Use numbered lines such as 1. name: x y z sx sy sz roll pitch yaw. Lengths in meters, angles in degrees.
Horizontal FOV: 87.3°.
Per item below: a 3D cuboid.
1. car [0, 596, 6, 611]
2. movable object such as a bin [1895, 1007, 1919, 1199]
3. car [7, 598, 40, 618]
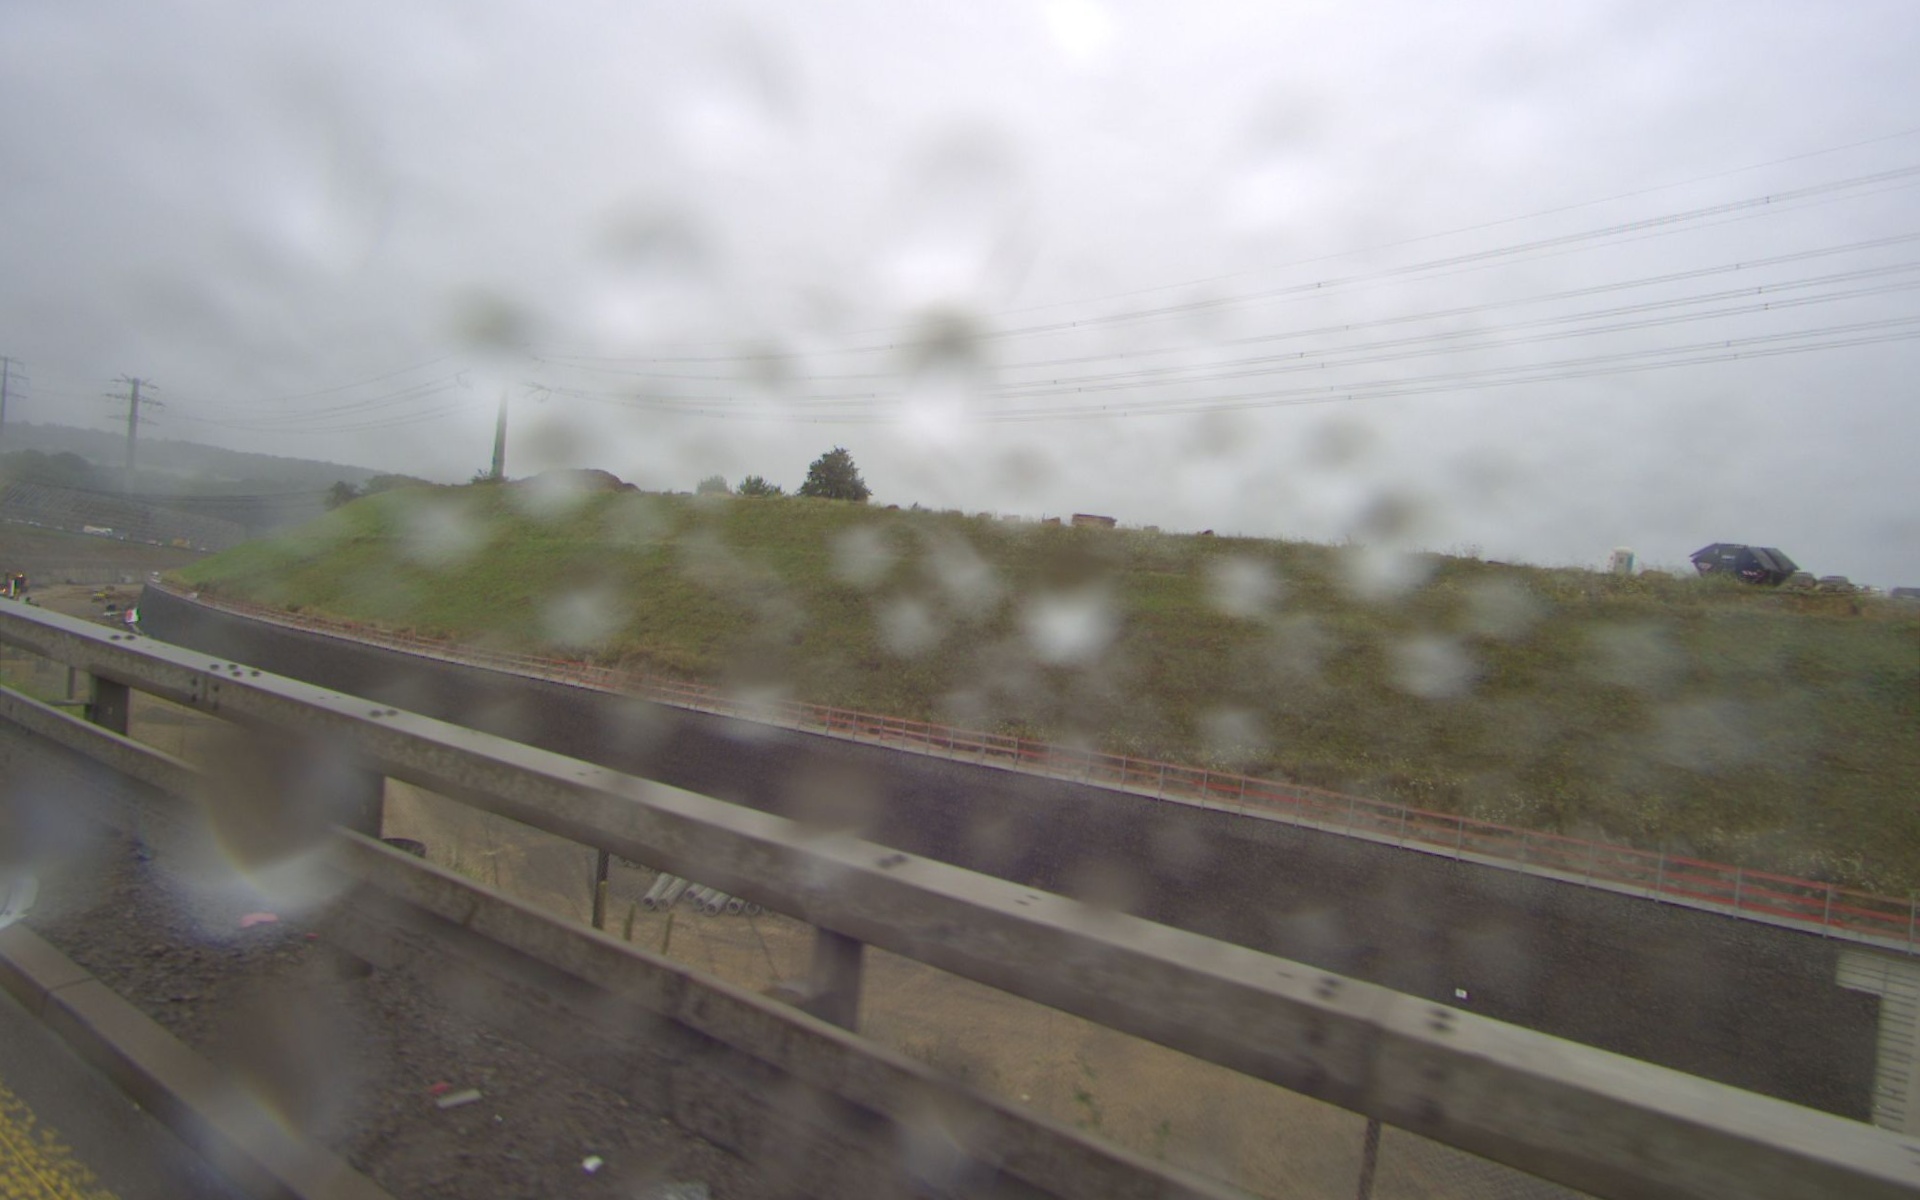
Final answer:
1. car: -137.093 0.355 142.638 3.943 1.837 1.993 5 -2 40
2. movable object such as a bin: 22.595 11.051 14.924 11.894 5.730 4.906 3 -5 32
3. car: -123.103 1.106 132.197 3.940 2.036 2.367 6 -3 38
